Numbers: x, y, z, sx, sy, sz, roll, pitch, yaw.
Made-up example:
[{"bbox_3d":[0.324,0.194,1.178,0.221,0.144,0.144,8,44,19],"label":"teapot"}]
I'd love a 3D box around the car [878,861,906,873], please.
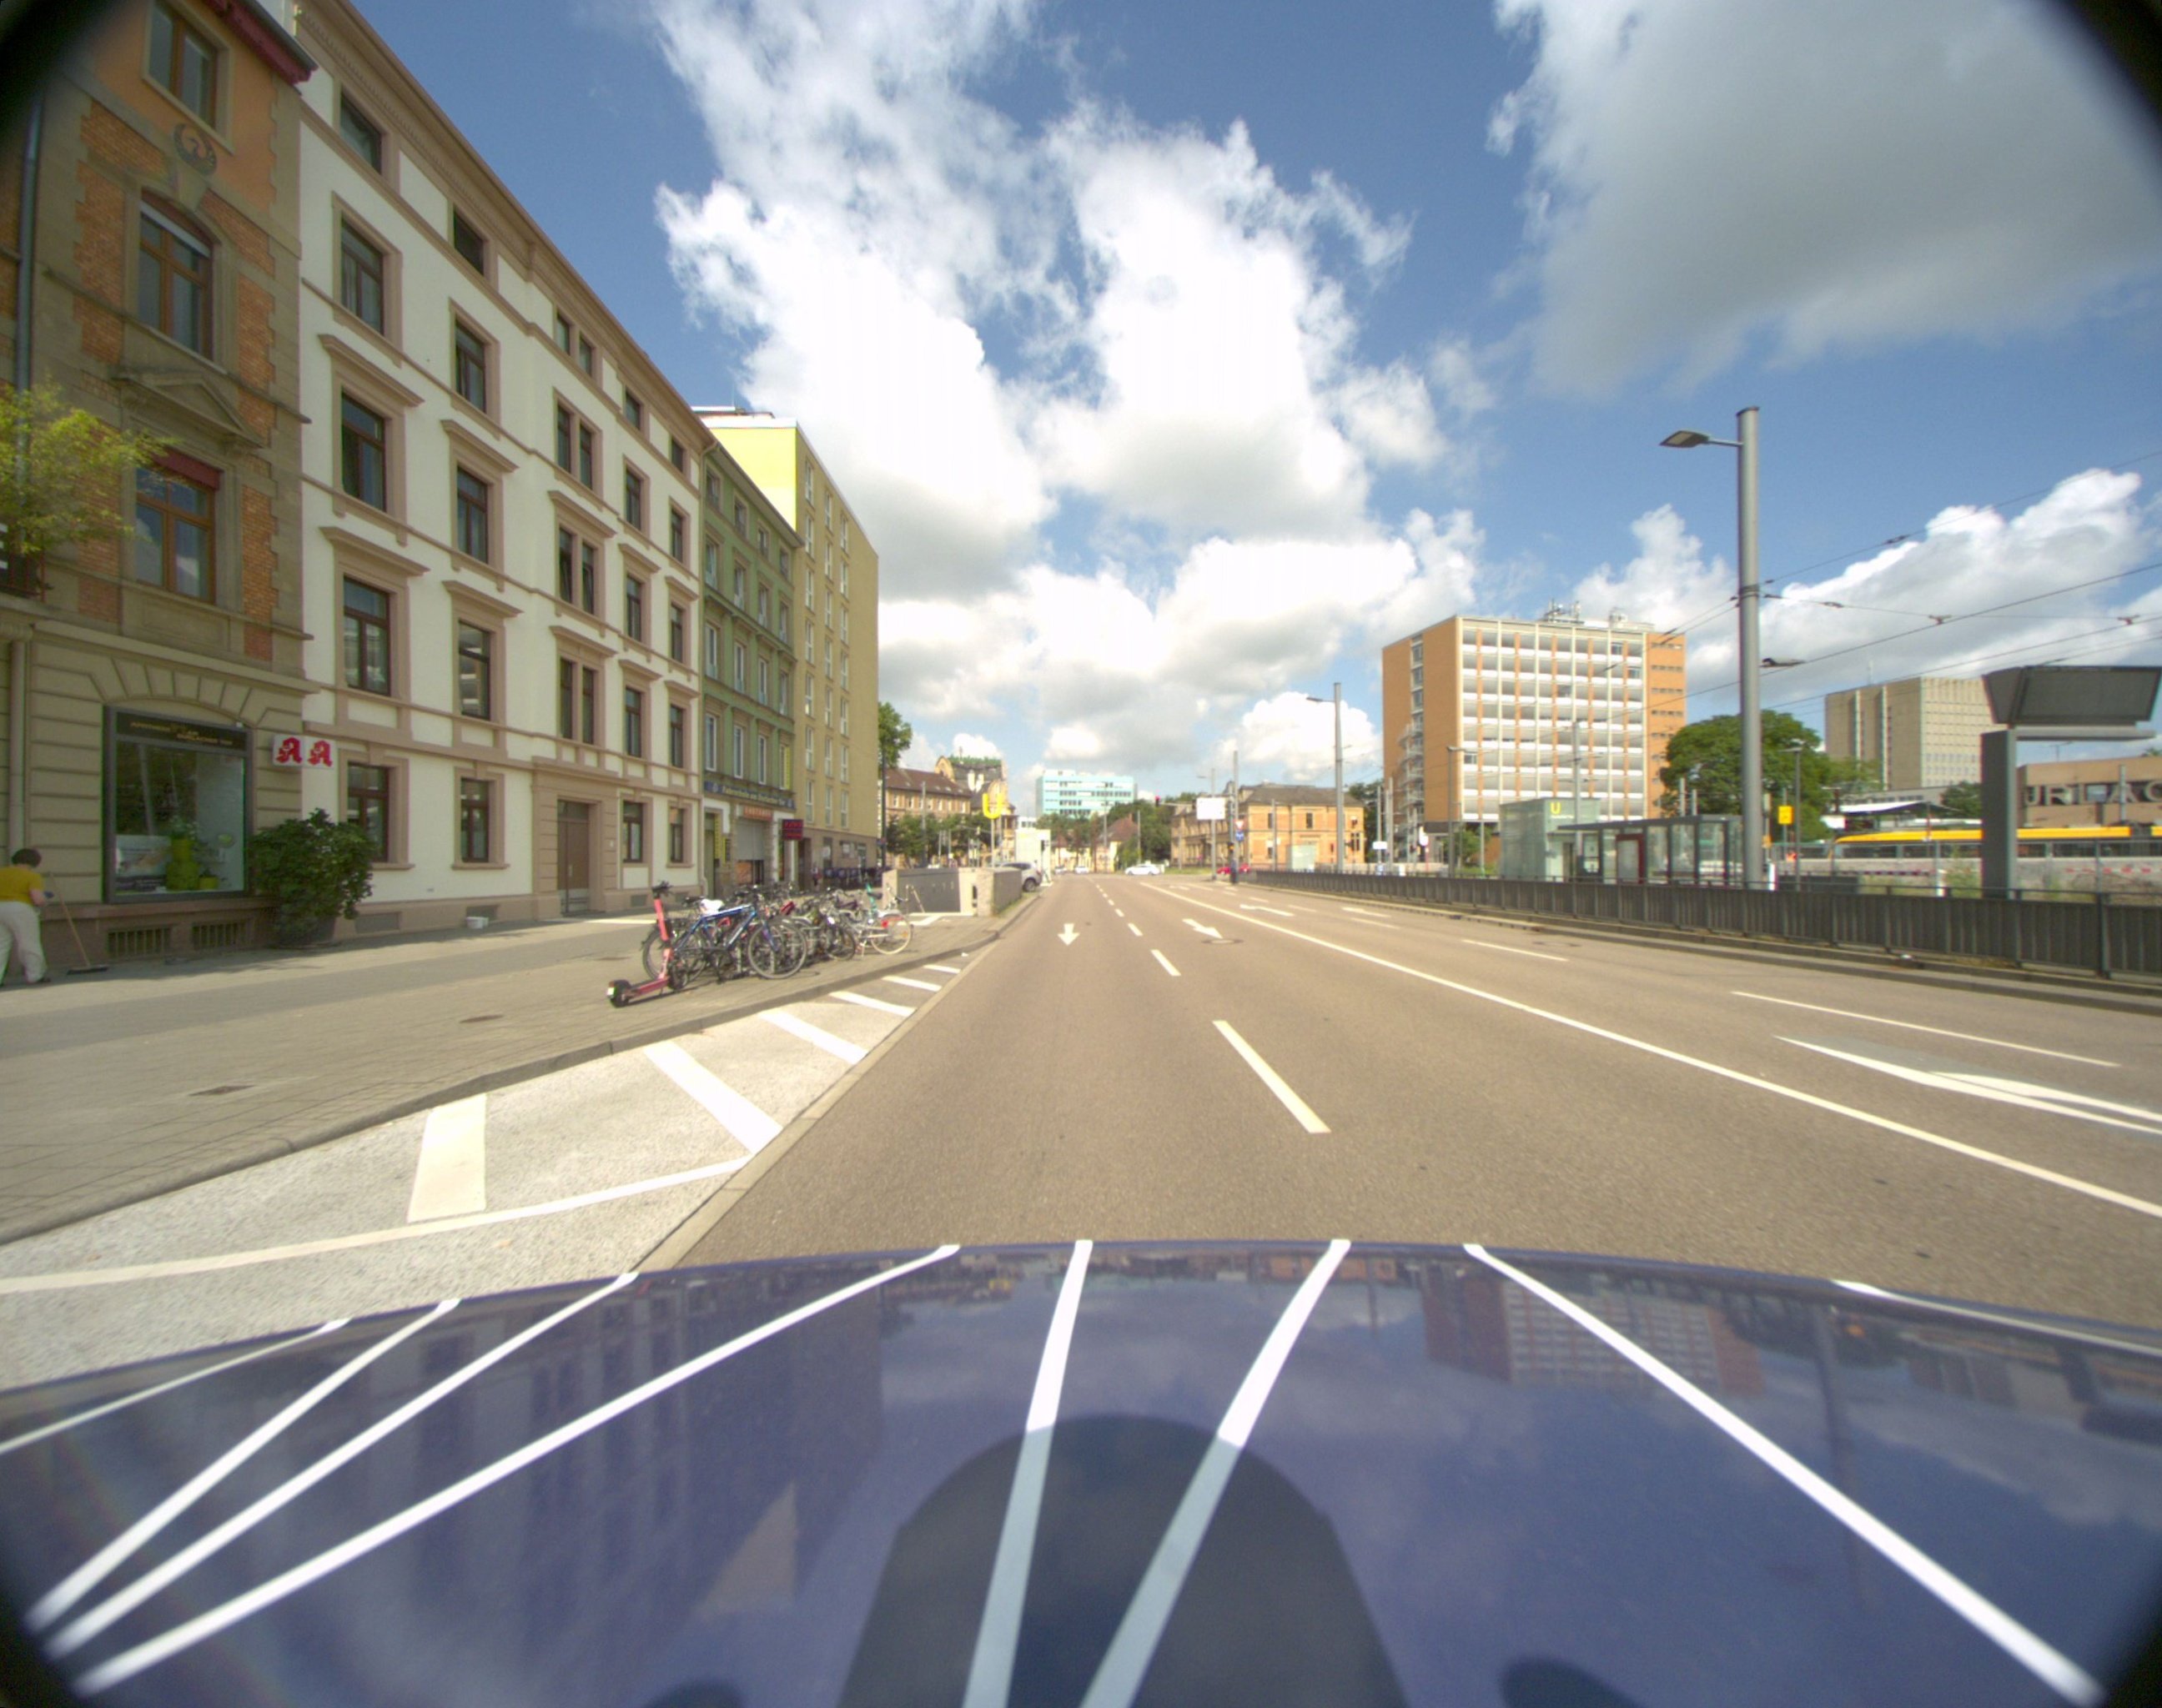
[{"bbox_3d":[-25.097,1.753,100.848,3.646,1.460,1.695,-2,-3,37],"label":"car"}]

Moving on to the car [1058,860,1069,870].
[{"bbox_3d":[-3.033,1.851,129.678,1.838,1.586,4.001,-1,-2,-2],"label":"car"}]

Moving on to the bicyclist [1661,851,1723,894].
[{"bbox_3d":[24.813,0.740,30.895,1.181,1.674,1.684,0,0,-2],"label":"bicyclist"}]

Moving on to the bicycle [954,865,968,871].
[{"bbox_3d":[-21.545,2.531,136.391,2.677,1.159,0.763,0,0,33],"label":"bicycle"}]

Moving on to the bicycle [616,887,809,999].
[{"bbox_3d":[-4.267,1.018,8.913,1.986,1.230,0.441,0,-2,-12],"label":"bicycle"}]

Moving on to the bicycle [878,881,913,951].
[{"bbox_3d":[-3.471,1.129,14.289,0.441,1.230,1.930,0,-2,-8],"label":"bicycle"}]

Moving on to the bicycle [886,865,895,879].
[{"bbox_3d":[-12.754,1.197,50.949,0.293,0.878,1.464,0,1,-3],"label":"bicycle"}]

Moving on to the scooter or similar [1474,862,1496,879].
[{"bbox_3d":[29.062,1.177,54.651,0.813,1.160,1.167,0,0,-10],"label":"scooter or similar"}]

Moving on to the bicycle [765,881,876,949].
[{"bbox_3d":[-4.839,1.133,14.154,1.929,1.230,0.441,-1,-2,2],"label":"bicycle"}]

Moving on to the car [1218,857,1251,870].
[{"bbox_3d":[19.432,1.199,96.152,4.057,1.458,1.649,-1,-2,14],"label":"car"}]

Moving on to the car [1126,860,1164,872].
[{"bbox_3d":[8.408,1.596,99.617,4.665,1.420,1.766,-1,-2,17],"label":"car"}]

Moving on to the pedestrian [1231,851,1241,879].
[{"bbox_3d":[10.985,0.775,53.965,0.503,2.002,0.515,0,0,-12],"label":"pedestrian"}]

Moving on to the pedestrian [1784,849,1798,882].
[{"bbox_3d":[38.588,0.643,41.288,0.561,1.783,0.722,0,0,42],"label":"pedestrian"}]

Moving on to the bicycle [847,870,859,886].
[{"bbox_3d":[-13.321,1.418,44.386,0.293,0.917,1.465,-1,-2,0],"label":"bicycle"}]

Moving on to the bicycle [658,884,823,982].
[{"bbox_3d":[-4.449,1.025,10.010,1.930,1.230,0.441,0,-2,-6],"label":"bicycle"}]

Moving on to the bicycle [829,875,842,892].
[{"bbox_3d":[-13.471,1.627,41.694,0.293,0.917,1.464,0,-1,-3],"label":"bicycle"}]

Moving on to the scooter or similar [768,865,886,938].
[{"bbox_3d":[-5.473,1.022,16.422,2.329,1.536,0.698,-1,-2,5],"label":"scooter or similar"}]

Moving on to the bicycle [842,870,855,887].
[{"bbox_3d":[-12.697,1.338,41.510,0.293,0.917,1.464,0,-1,-3],"label":"bicycle"}]

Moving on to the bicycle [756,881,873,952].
[{"bbox_3d":[-4.716,1.101,13.476,1.929,1.230,0.441,-1,-2,2],"label":"bicycle"}]

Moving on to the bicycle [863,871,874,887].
[{"bbox_3d":[-12.819,1.519,45.866,0.293,0.917,1.464,0,0,0],"label":"bicycle"}]

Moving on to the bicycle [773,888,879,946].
[{"bbox_3d":[-4.970,1.222,14.851,1.929,1.096,0.441,-1,-2,2],"label":"bicycle"}]

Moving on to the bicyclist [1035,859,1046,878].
[{"bbox_3d":[-2.971,1.046,55.423,0.783,1.327,0.395,-1,-2,3],"label":"bicyclist"}]

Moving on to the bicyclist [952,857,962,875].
[{"bbox_3d":[-9.744,0.969,59.896,0.655,1.428,0.743,0,0,0],"label":"bicyclist"}]

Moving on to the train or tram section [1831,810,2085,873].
[{"bbox_3d":[56.910,-0.629,50.016,10.580,3.459,3.332,-3,-3,44],"label":"train or tram section"}]

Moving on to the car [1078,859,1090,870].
[{"bbox_3d":[0.473,1.778,126.429,1.956,1.586,4.507,-1,-2,-2],"label":"car"}]

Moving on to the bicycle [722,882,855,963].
[{"bbox_3d":[-4.616,1.066,12.110,1.931,1.230,0.441,0,-2,-13],"label":"bicycle"}]

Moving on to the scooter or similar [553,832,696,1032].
[{"bbox_3d":[-4.460,0.701,7.541,0.398,1.776,1.538,0,0,4],"label":"scooter or similar"}]

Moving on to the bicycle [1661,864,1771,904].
[{"bbox_3d":[24.852,1.128,29.896,1.196,1.418,3.693,0,0,-2],"label":"bicycle"}]

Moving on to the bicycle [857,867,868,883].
[{"bbox_3d":[-12.710,1.245,44.241,0.293,0.917,1.464,0,-2,-3],"label":"bicycle"}]

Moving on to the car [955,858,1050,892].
[{"bbox_3d":[-4.060,1.051,39.766,4.606,1.637,2.056,0,0,-43],"label":"car"}]

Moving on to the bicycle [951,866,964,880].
[{"bbox_3d":[-9.744,1.480,59.923,0.663,1.114,2.332,0,0,0],"label":"bicycle"}]

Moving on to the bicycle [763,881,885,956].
[{"bbox_3d":[-4.350,1.093,12.914,1.929,1.230,0.441,-1,-2,2],"label":"bicycle"}]

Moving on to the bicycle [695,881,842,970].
[{"bbox_3d":[-4.544,1.024,11.137,1.931,1.230,0.441,0,-2,-11],"label":"bicycle"}]

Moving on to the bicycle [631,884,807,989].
[{"bbox_3d":[-4.467,1.005,9.466,1.930,1.230,0.441,0,-2,-8],"label":"bicycle"}]

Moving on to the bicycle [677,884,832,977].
[{"bbox_3d":[-4.513,1.044,10.599,1.931,1.230,0.441,0,-2,-11],"label":"bicycle"}]

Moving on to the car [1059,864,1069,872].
[{"bbox_3d":[-4.749,3.942,211.795,2.001,2.001,3.996,0,-2,-16],"label":"car"}]

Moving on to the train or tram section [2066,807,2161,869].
[{"bbox_3d":[64.525,-1.020,42.760,10.580,3.459,3.332,-3,-3,44],"label":"train or tram section"}]

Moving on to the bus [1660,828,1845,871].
[{"bbox_3d":[58.911,-0.365,67.012,12.356,3.599,2.919,0,0,12],"label":"bus"}]

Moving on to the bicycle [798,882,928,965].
[{"bbox_3d":[-3.374,1.062,11.876,1.931,1.230,0.441,0,-2,-12],"label":"bicycle"}]

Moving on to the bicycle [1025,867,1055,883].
[{"bbox_3d":[-2.964,1.540,55.404,2.098,1.099,0.545,-1,-2,6],"label":"bicycle"}]

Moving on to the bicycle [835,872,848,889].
[{"bbox_3d":[-13.154,1.459,41.705,0.293,0.917,1.464,0,-2,-3],"label":"bicycle"}]

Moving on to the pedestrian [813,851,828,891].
[{"bbox_3d":[-13.108,0.853,38.289,0.603,2.001,0.460,-1,-2,0],"label":"pedestrian"}]

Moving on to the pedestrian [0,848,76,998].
[{"bbox_3d":[-12.430,0.791,8.845,0.580,1.687,0.612,-1,-2,0],"label":"pedestrian"}]
